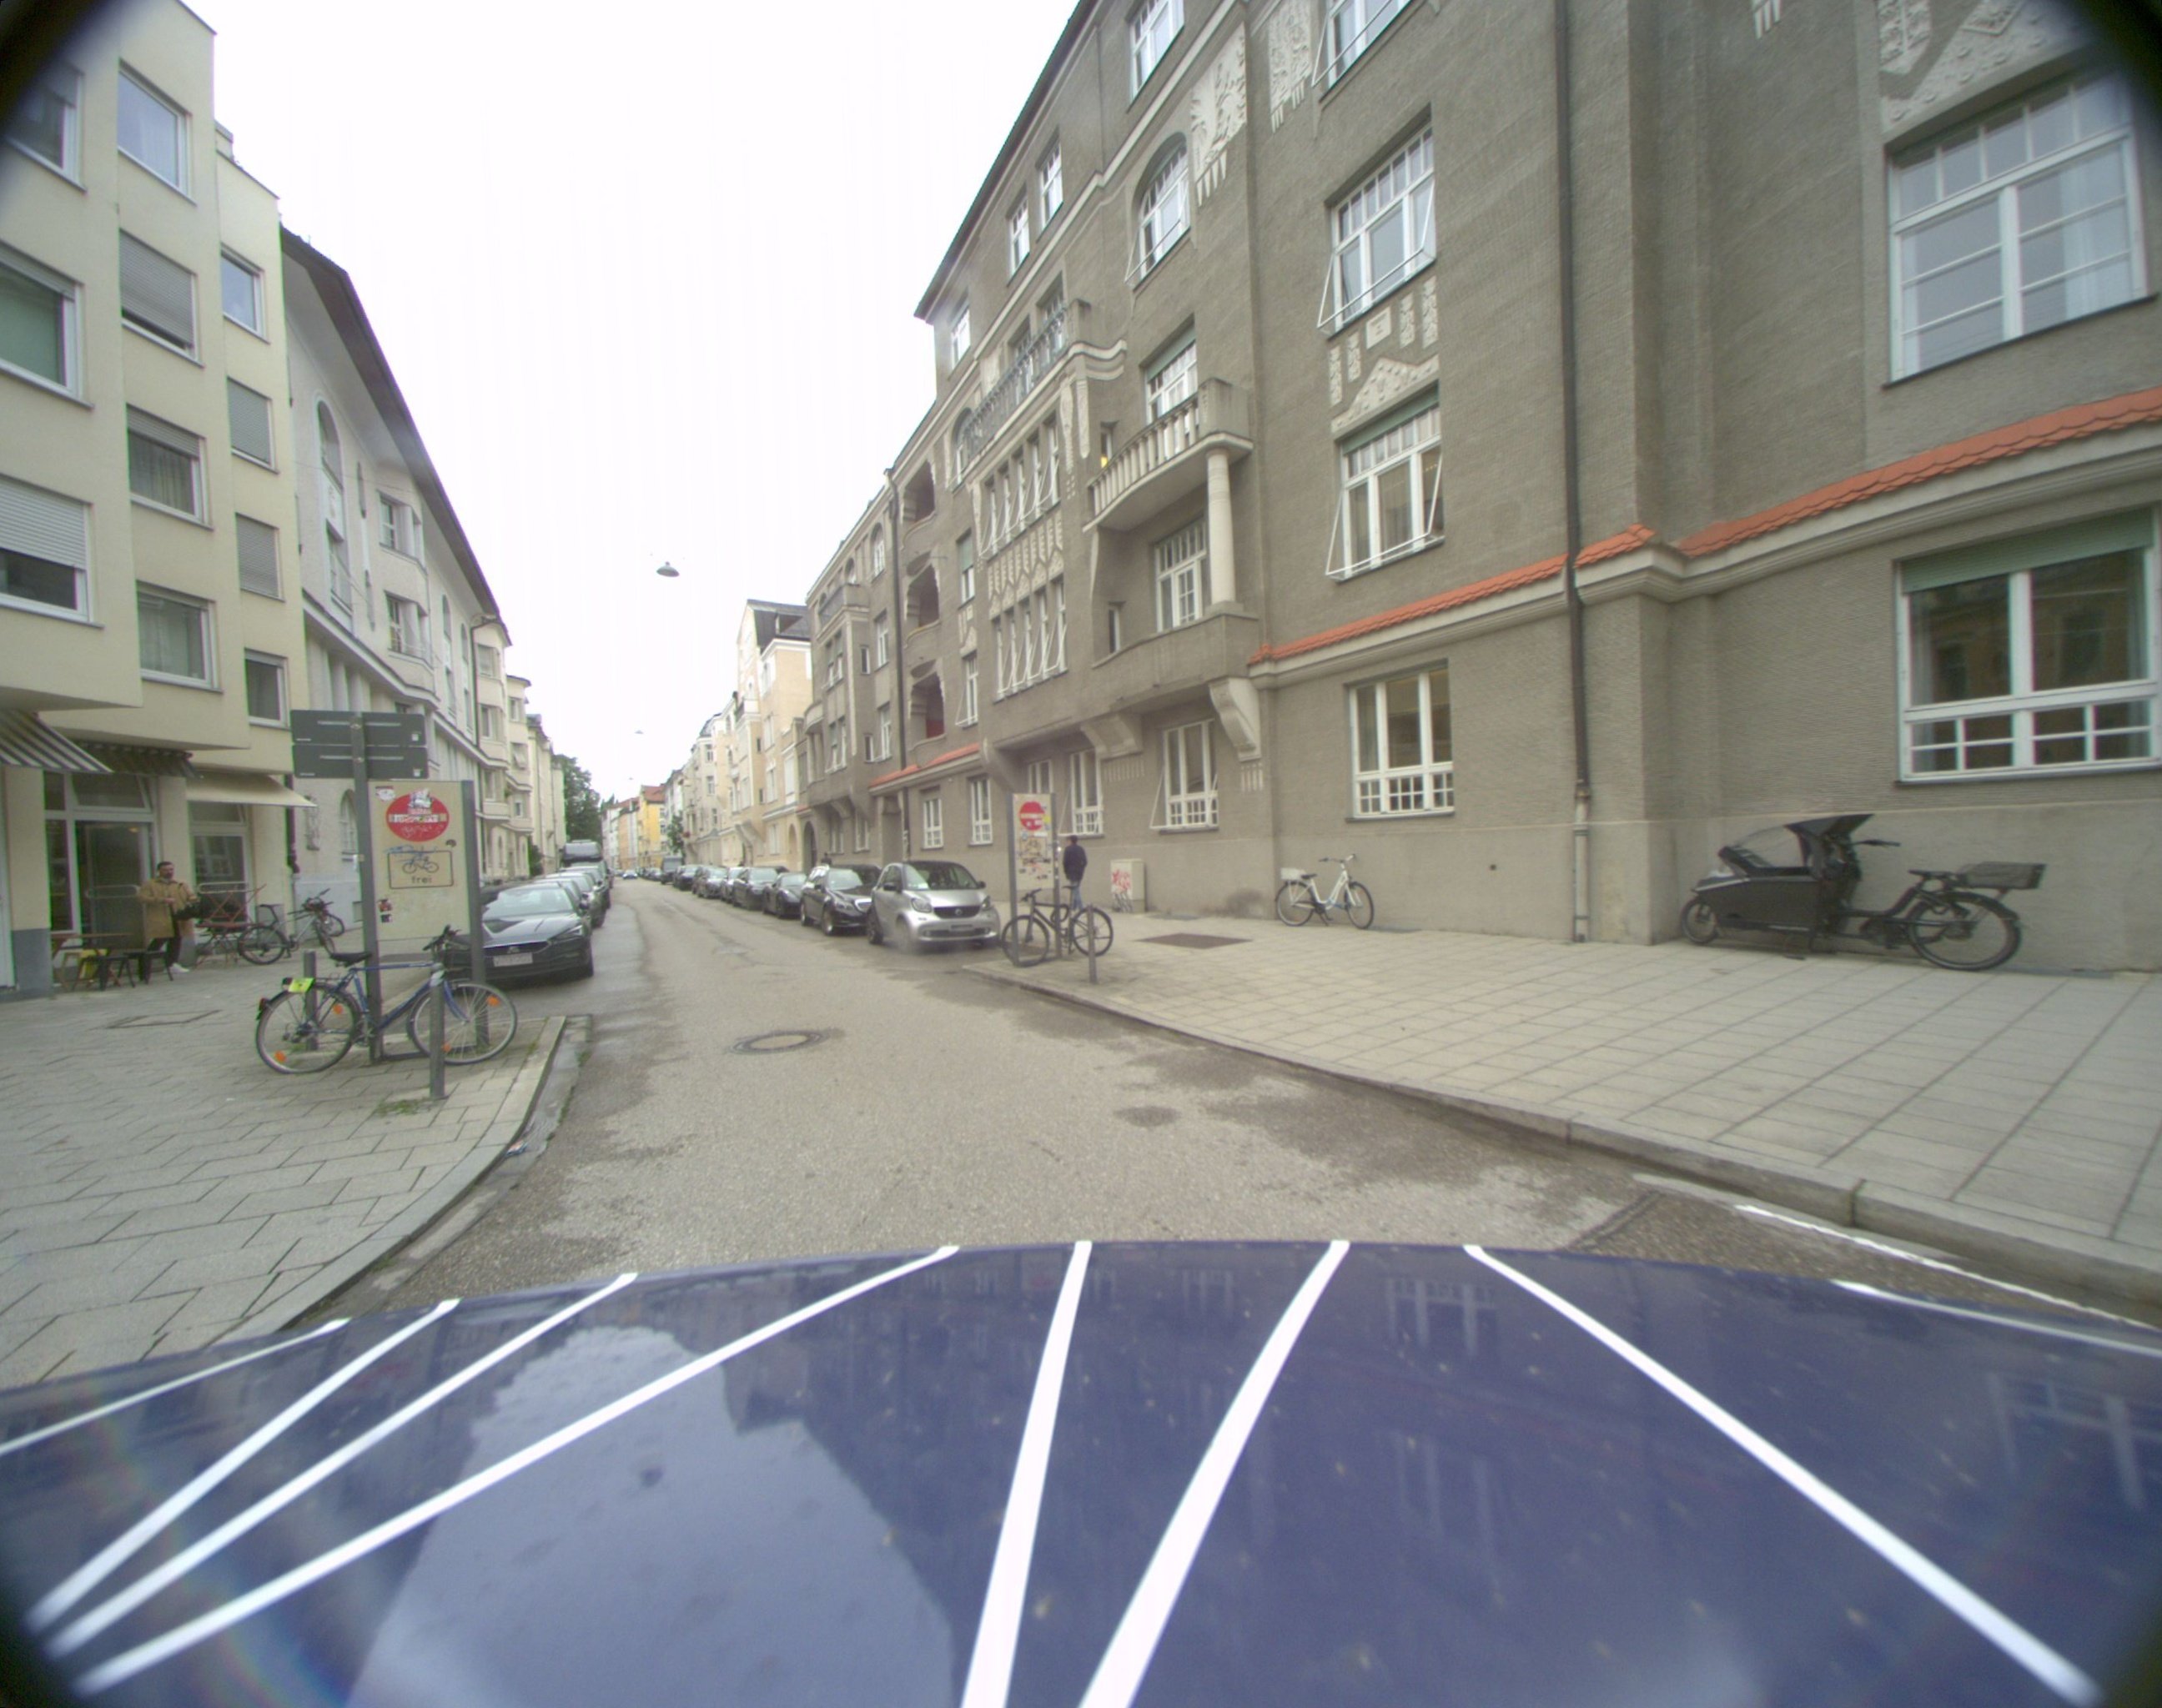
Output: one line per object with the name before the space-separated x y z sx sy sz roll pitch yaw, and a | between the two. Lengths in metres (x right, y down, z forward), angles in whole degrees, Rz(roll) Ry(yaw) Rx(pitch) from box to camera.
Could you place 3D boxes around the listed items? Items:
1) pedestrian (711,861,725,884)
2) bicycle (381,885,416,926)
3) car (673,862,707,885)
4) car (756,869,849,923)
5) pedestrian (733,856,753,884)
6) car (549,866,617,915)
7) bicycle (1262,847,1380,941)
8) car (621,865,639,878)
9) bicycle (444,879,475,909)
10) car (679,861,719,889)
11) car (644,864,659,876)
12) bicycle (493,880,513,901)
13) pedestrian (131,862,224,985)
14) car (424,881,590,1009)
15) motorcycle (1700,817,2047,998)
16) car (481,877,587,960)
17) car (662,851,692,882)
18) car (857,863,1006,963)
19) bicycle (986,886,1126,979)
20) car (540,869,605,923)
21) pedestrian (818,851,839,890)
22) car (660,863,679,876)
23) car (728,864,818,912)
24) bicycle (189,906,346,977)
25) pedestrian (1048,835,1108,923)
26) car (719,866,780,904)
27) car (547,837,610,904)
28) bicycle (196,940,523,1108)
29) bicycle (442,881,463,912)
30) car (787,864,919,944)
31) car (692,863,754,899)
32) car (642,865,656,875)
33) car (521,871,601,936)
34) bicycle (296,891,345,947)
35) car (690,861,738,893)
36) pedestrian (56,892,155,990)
pedestrian | -28.788 1.470 60.242 0.839 1.779 0.739 -4 2 -32
bicycle | -21.253 1.584 23.684 0.484 1.144 1.783 -4 2 -34
car | -30.070 1.468 58.336 1.881 1.639 4.449 -4 1 -32
car | -8.203 1.151 22.166 1.764 1.323 4.087 -3 1 -31
pedestrian | -21.994 1.018 49.396 0.997 1.719 0.937 -4 2 -32
car | -20.173 1.407 30.936 2.003 1.679 4.663 -4 2 -31
bicycle | 3.741 0.596 11.959 0.621 1.342 1.671 -4 2 -36
car | -67.015 2.555 112.917 2.003 1.788 3.990 -4 1 -33
bicycle | -26.722 1.707 32.672 0.483 1.144 1.785 -3 1 -23
car | -25.025 1.330 49.665 1.960 1.649 4.606 -2 1 -30
car | -64.985 2.431 114.877 1.687 1.628 3.696 -4 1 -33
bicycle | -33.107 2.078 43.550 0.644 1.111 1.963 -4 1 -31
pedestrian | -14.147 1.064 11.899 1.014 1.836 0.743 -2 -2 30
car | -8.932 1.252 12.139 1.701 1.463 4.599 -4 1 -33
motorcycle | 7.308 0.429 7.152 0.739 1.432 2.141 -4 2 -33
car | -12.040 1.317 16.901 1.642 1.463 3.845 -4 1 -33
car | -37.036 1.122 69.510 2.109 2.606 5.665 -1 0 -31
car | -2.752 0.950 13.593 1.712 1.506 2.904 -2 0 -31
bicycle | -0.315 1.021 10.285 1.811 1.009 0.539 -4 2 -33
car | -17.311 1.355 25.890 1.642 1.583 3.958 -4 1 -34
pedestrian | -12.336 0.799 37.136 0.720 1.807 0.729 -4 2 -32
car | -46.710 1.734 86.206 1.687 1.390 3.696 -4 1 -31
car | -10.940 1.126 26.775 2.003 1.440 4.767 -3 1 -33
bicycle | -14.276 1.505 13.419 0.752 1.026 1.800 -1 0 4
pedestrian | -0.072 0.506 16.197 0.843 1.777 0.934 -4 2 -29
car | -13.809 1.228 31.548 1.814 1.423 4.429 -1 0 -30
car | -24.896 0.746 37.842 2.265 2.943 6.116 -5 3 -32
bicycle | -5.488 1.268 5.868 1.797 1.079 0.666 -2 -1 -4
bicycle | -25.400 1.699 30.722 0.484 1.144 1.783 0 0 -34
car | -5.372 1.017 17.455 1.764 1.506 4.696 -3 1 -31
car | -17.048 1.235 36.077 1.846 1.504 4.596 -2 1 -35
car | -70.511 2.611 124.102 1.687 1.628 3.696 -4 1 -33
car | -14.653 1.306 21.405 1.642 1.528 3.845 -4 1 -35
bicycle | -17.762 1.487 17.777 0.566 1.185 1.673 0 0 -36
car | -20.039 1.202 41.402 1.811 1.563 3.804 -4 1 -33
pedestrian | -14.879 1.306 11.605 0.532 1.390 0.673 -3 2 2
